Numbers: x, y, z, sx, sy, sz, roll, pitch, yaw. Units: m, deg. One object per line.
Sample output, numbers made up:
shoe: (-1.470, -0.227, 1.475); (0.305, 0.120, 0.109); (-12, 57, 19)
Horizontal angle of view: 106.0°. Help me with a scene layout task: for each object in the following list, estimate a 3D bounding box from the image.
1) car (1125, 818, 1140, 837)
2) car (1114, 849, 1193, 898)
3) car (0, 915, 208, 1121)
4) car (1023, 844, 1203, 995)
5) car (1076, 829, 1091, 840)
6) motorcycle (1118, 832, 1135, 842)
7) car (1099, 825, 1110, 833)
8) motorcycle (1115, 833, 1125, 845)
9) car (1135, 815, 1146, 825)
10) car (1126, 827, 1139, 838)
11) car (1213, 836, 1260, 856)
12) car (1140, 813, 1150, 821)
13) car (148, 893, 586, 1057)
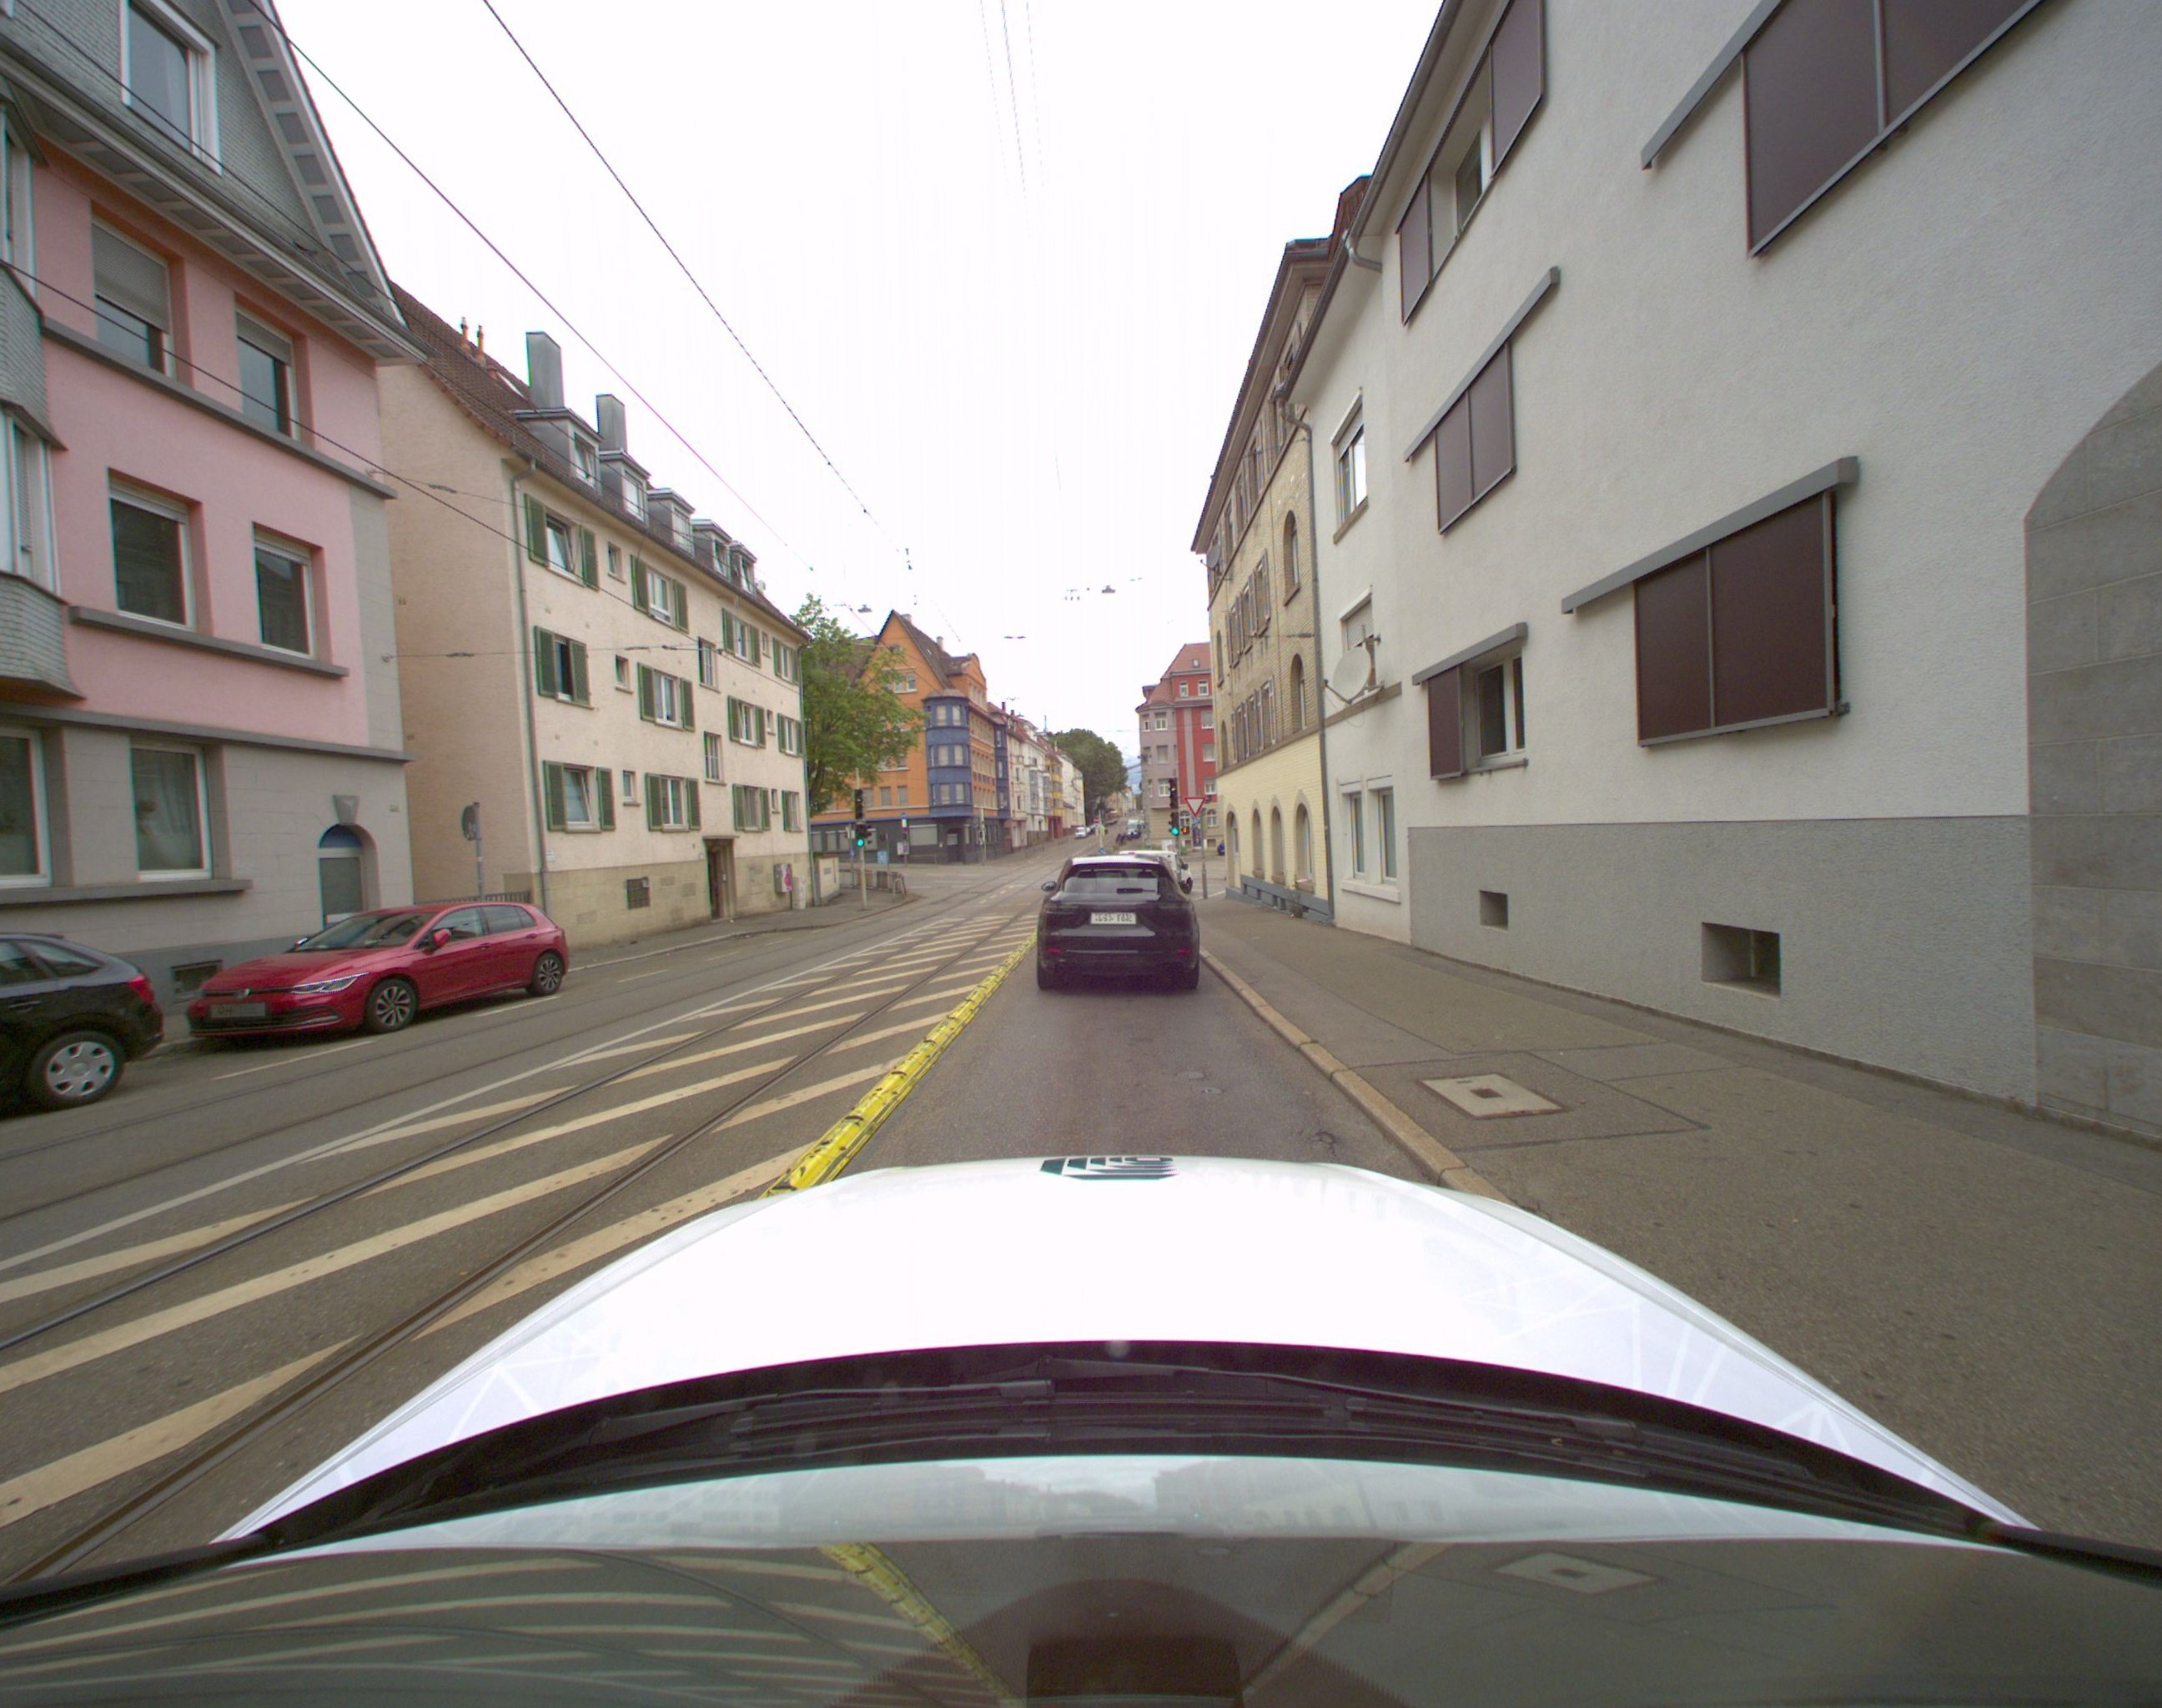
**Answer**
car: (8.143, -4.231, 128.388); (2.255, 2.889, 4.779); (0, 2, 6)
car: (3.125, 0.764, 34.360); (1.848, 1.883, 4.311); (1, 1, 27)
car: (-8.802, 1.286, 5.179); (1.778, 1.410, 4.243); (-4, -1, 2)
car: (0.631, 0.694, 11.277); (2.013, 1.641, 4.365); (0, 1, 7)
car: (0.396, -3.289, 135.169); (1.983, 1.692, 4.008); (0, 2, 6)
motorcycle: (6.155, -2.301, 109.855); (2.173, 1.326, 0.698); (-1, 2, -5)
car: (4.322, -4.620, 151.085); (1.677, 1.326, 3.669); (0, 2, 6)
motorcycle: (4.732, -1.847, 99.457); (0.858, 1.326, 2.182); (-7, 2, -3)
car: (13.824, -7.922, 189.656); (2.255, 2.183, 4.779); (0, 2, 6)
car: (7.835, -3.296, 123.056); (1.831, 1.568, 3.827); (0, 2, 6)
car: (13.996, -0.723, 73.161); (4.163, 1.534, 1.896); (-5, 5, -40)
car: (16.446, -9.502, 209.866); (2.255, 2.183, 4.779); (0, 2, 6)
car: (-8.734, 1.360, 10.606); (1.778, 1.438, 4.263); (-4, -1, 2)
